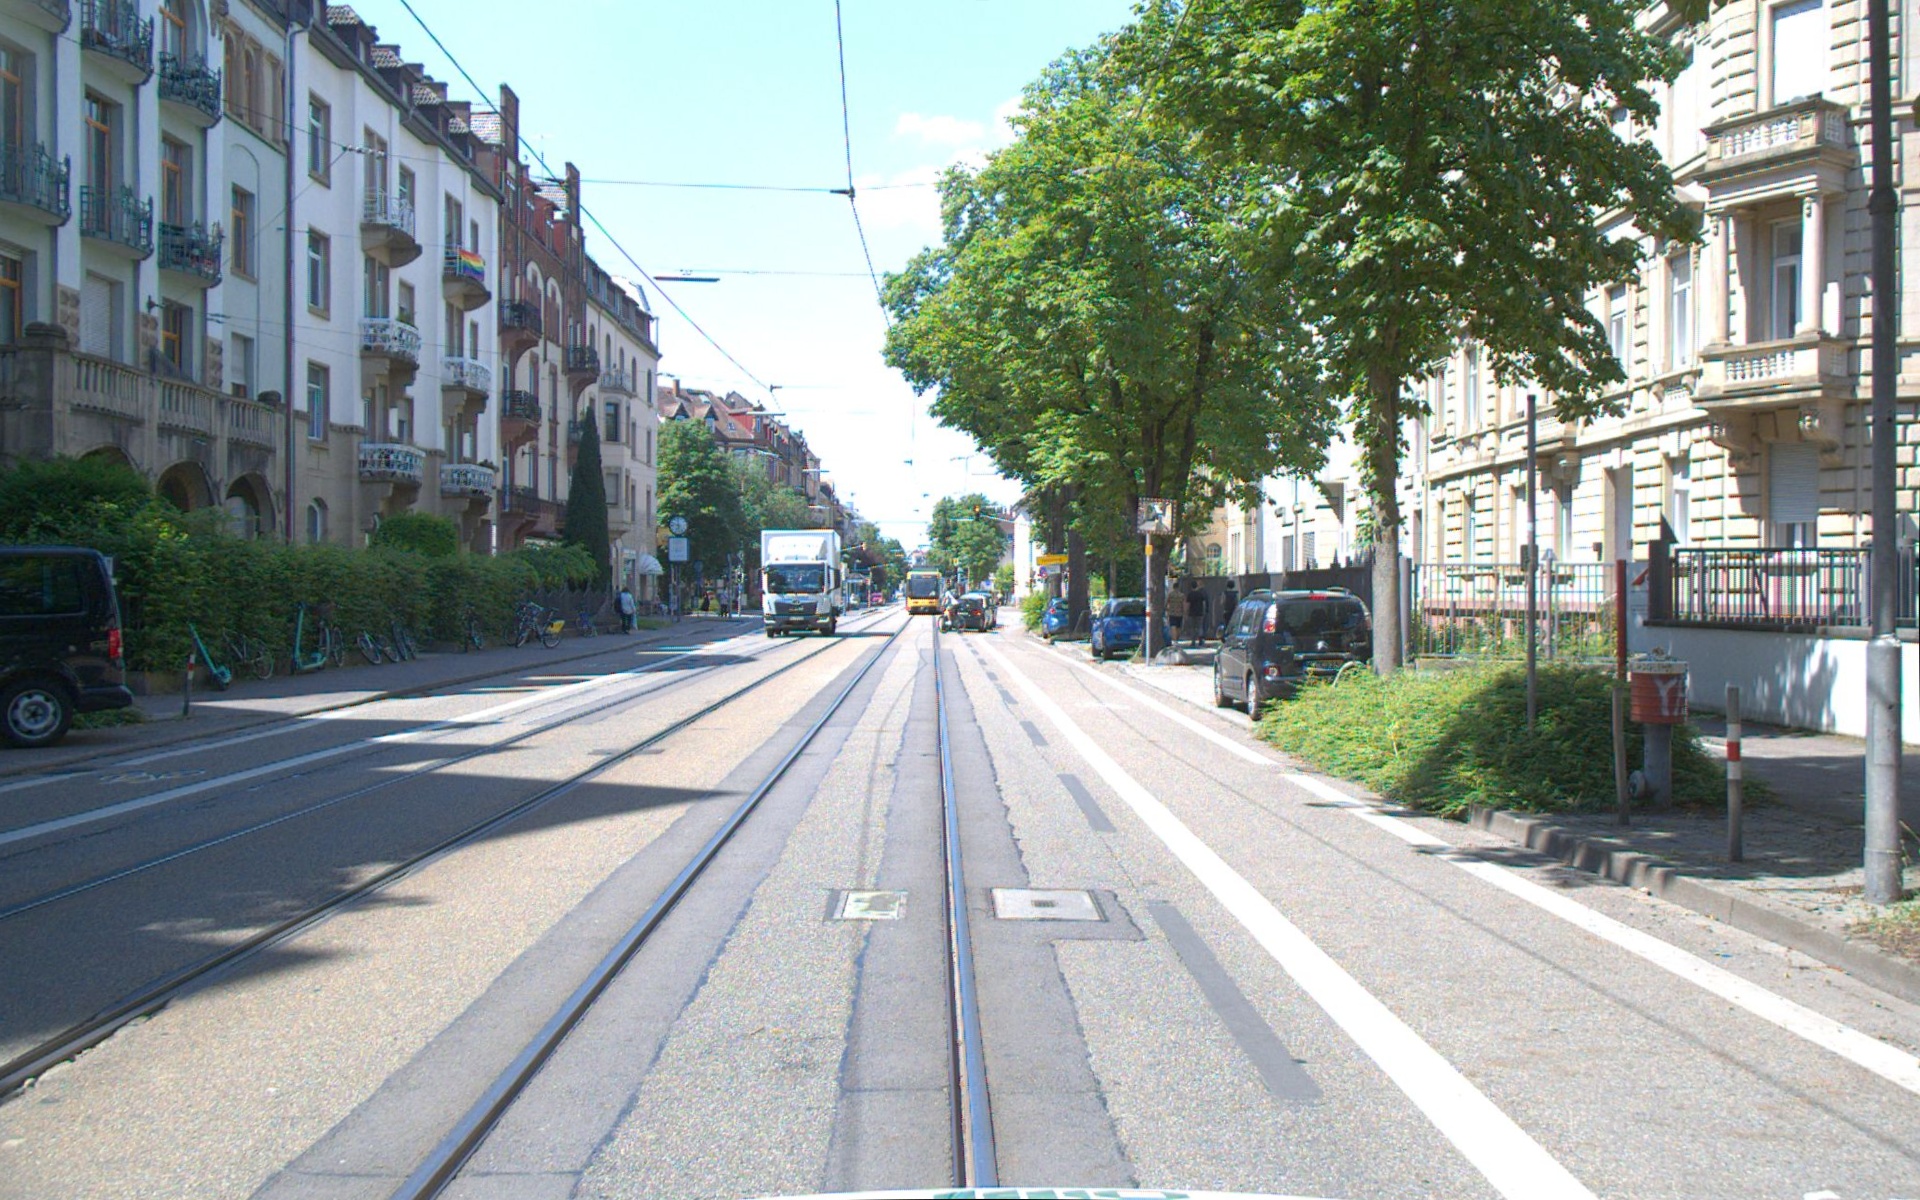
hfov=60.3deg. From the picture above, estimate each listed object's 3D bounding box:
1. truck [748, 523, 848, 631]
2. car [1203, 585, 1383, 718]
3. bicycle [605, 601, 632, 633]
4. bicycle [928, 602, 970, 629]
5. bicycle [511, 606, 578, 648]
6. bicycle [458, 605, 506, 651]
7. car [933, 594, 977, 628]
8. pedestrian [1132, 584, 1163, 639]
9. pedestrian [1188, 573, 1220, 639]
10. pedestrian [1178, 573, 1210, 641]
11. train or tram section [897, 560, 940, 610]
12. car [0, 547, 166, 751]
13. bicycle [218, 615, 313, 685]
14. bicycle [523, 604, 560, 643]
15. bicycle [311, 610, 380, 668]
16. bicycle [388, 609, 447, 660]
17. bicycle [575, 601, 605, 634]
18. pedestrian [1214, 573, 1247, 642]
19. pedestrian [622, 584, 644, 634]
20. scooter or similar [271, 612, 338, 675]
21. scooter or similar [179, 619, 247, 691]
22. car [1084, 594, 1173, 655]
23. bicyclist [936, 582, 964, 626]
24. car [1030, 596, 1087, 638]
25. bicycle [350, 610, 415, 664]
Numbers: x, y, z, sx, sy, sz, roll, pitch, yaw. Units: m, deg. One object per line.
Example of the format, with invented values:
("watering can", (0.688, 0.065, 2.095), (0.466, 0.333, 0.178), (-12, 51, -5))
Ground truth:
("truck", (-5.656, -0.817, 59.201), (2.880, 3.612, 8.451), (0, 1, -1))
("car", (4.452, 0.640, 22.611), (1.560, 1.645, 3.906), (0, 0, -2))
("bicycle", (-11.356, 0.562, 55.056), (0.532, 0.986, 1.781), (2, 1, -1))
("bicycle", (-0.434, 0.594, 63.088), (0.634, 0.986, 1.756), (3, -2, -38))
("bicycle", (-10.279, 0.677, 41.003), (0.532, 0.986, 1.778), (1, -1, 28))
("bicycle", (-11.036, 0.637, 38.240), (0.532, 0.986, 1.990), (2, 1, -1))
("car", (-0.210, 0.430, 67.701), (1.745, 1.369, 3.415), (0, 0, -1))
("pedestrian", (5.341, 0.334, 47.145), (0.791, 1.557, 0.624), (0, -2, 16))
("pedestrian", (7.028, 0.169, 47.611), (0.792, 1.892, 0.623), (0, -2, -3))
("pedestrian", (6.545, 0.203, 46.311), (0.792, 1.892, 0.576), (0, -2, -3))
("train or tram section", (-2.989, -1.116, 122.144), (2.973, 3.498, 11.969), (0, 0, -1))
("car", (-10.375, 0.481, 16.195), (4.444, 1.974, 1.680), (0, -1, -40))
("bicycle", (-10.831, 0.758, 25.860), (0.532, 0.986, 2.248), (2, 1, -1))
("bicycle", (-11.094, 0.614, 43.880), (0.532, 0.986, 1.781), (2, 1, -1))
("bicycle", (-10.924, 0.696, 29.437), (0.532, 0.986, 1.821), (2, -1, -1))
("bicycle", (-10.954, 0.693, 33.440), (0.532, 0.986, 1.989), (2, -1, -1))
("bicycle", (-11.323, 0.522, 50.650), (0.532, 0.986, 1.780), (2, 0, -1))
("pedestrian", (7.482, 0.201, 45.706), (0.792, 1.892, 0.623), (0, -2, -3))
("pedestrian", (-10.795, 0.289, 54.656), (0.561, 1.644, 0.816), (0, 0, -1))
("scooter or similar", (-10.983, 0.715, 27.750), (0.532, 0.986, 1.499), (2, 1, -1))
("scooter or similar", (-10.762, 0.779, 23.853), (0.532, 0.986, 0.958), (2, 0, -1))
("car", (4.213, 0.594, 41.883), (1.676, 1.448, 4.308), (-1, 0, -2))
("bicyclist", (-0.379, 0.142, 63.046), (0.618, 1.644, 0.853), (3, -2, -39))
("car", (3.544, 0.592, 60.014), (1.676, 1.448, 4.308), (-1, 0, -2))
("bicycle", (-10.944, 0.690, 31.405), (0.532, 0.986, 1.989), (2, 0, -1))
